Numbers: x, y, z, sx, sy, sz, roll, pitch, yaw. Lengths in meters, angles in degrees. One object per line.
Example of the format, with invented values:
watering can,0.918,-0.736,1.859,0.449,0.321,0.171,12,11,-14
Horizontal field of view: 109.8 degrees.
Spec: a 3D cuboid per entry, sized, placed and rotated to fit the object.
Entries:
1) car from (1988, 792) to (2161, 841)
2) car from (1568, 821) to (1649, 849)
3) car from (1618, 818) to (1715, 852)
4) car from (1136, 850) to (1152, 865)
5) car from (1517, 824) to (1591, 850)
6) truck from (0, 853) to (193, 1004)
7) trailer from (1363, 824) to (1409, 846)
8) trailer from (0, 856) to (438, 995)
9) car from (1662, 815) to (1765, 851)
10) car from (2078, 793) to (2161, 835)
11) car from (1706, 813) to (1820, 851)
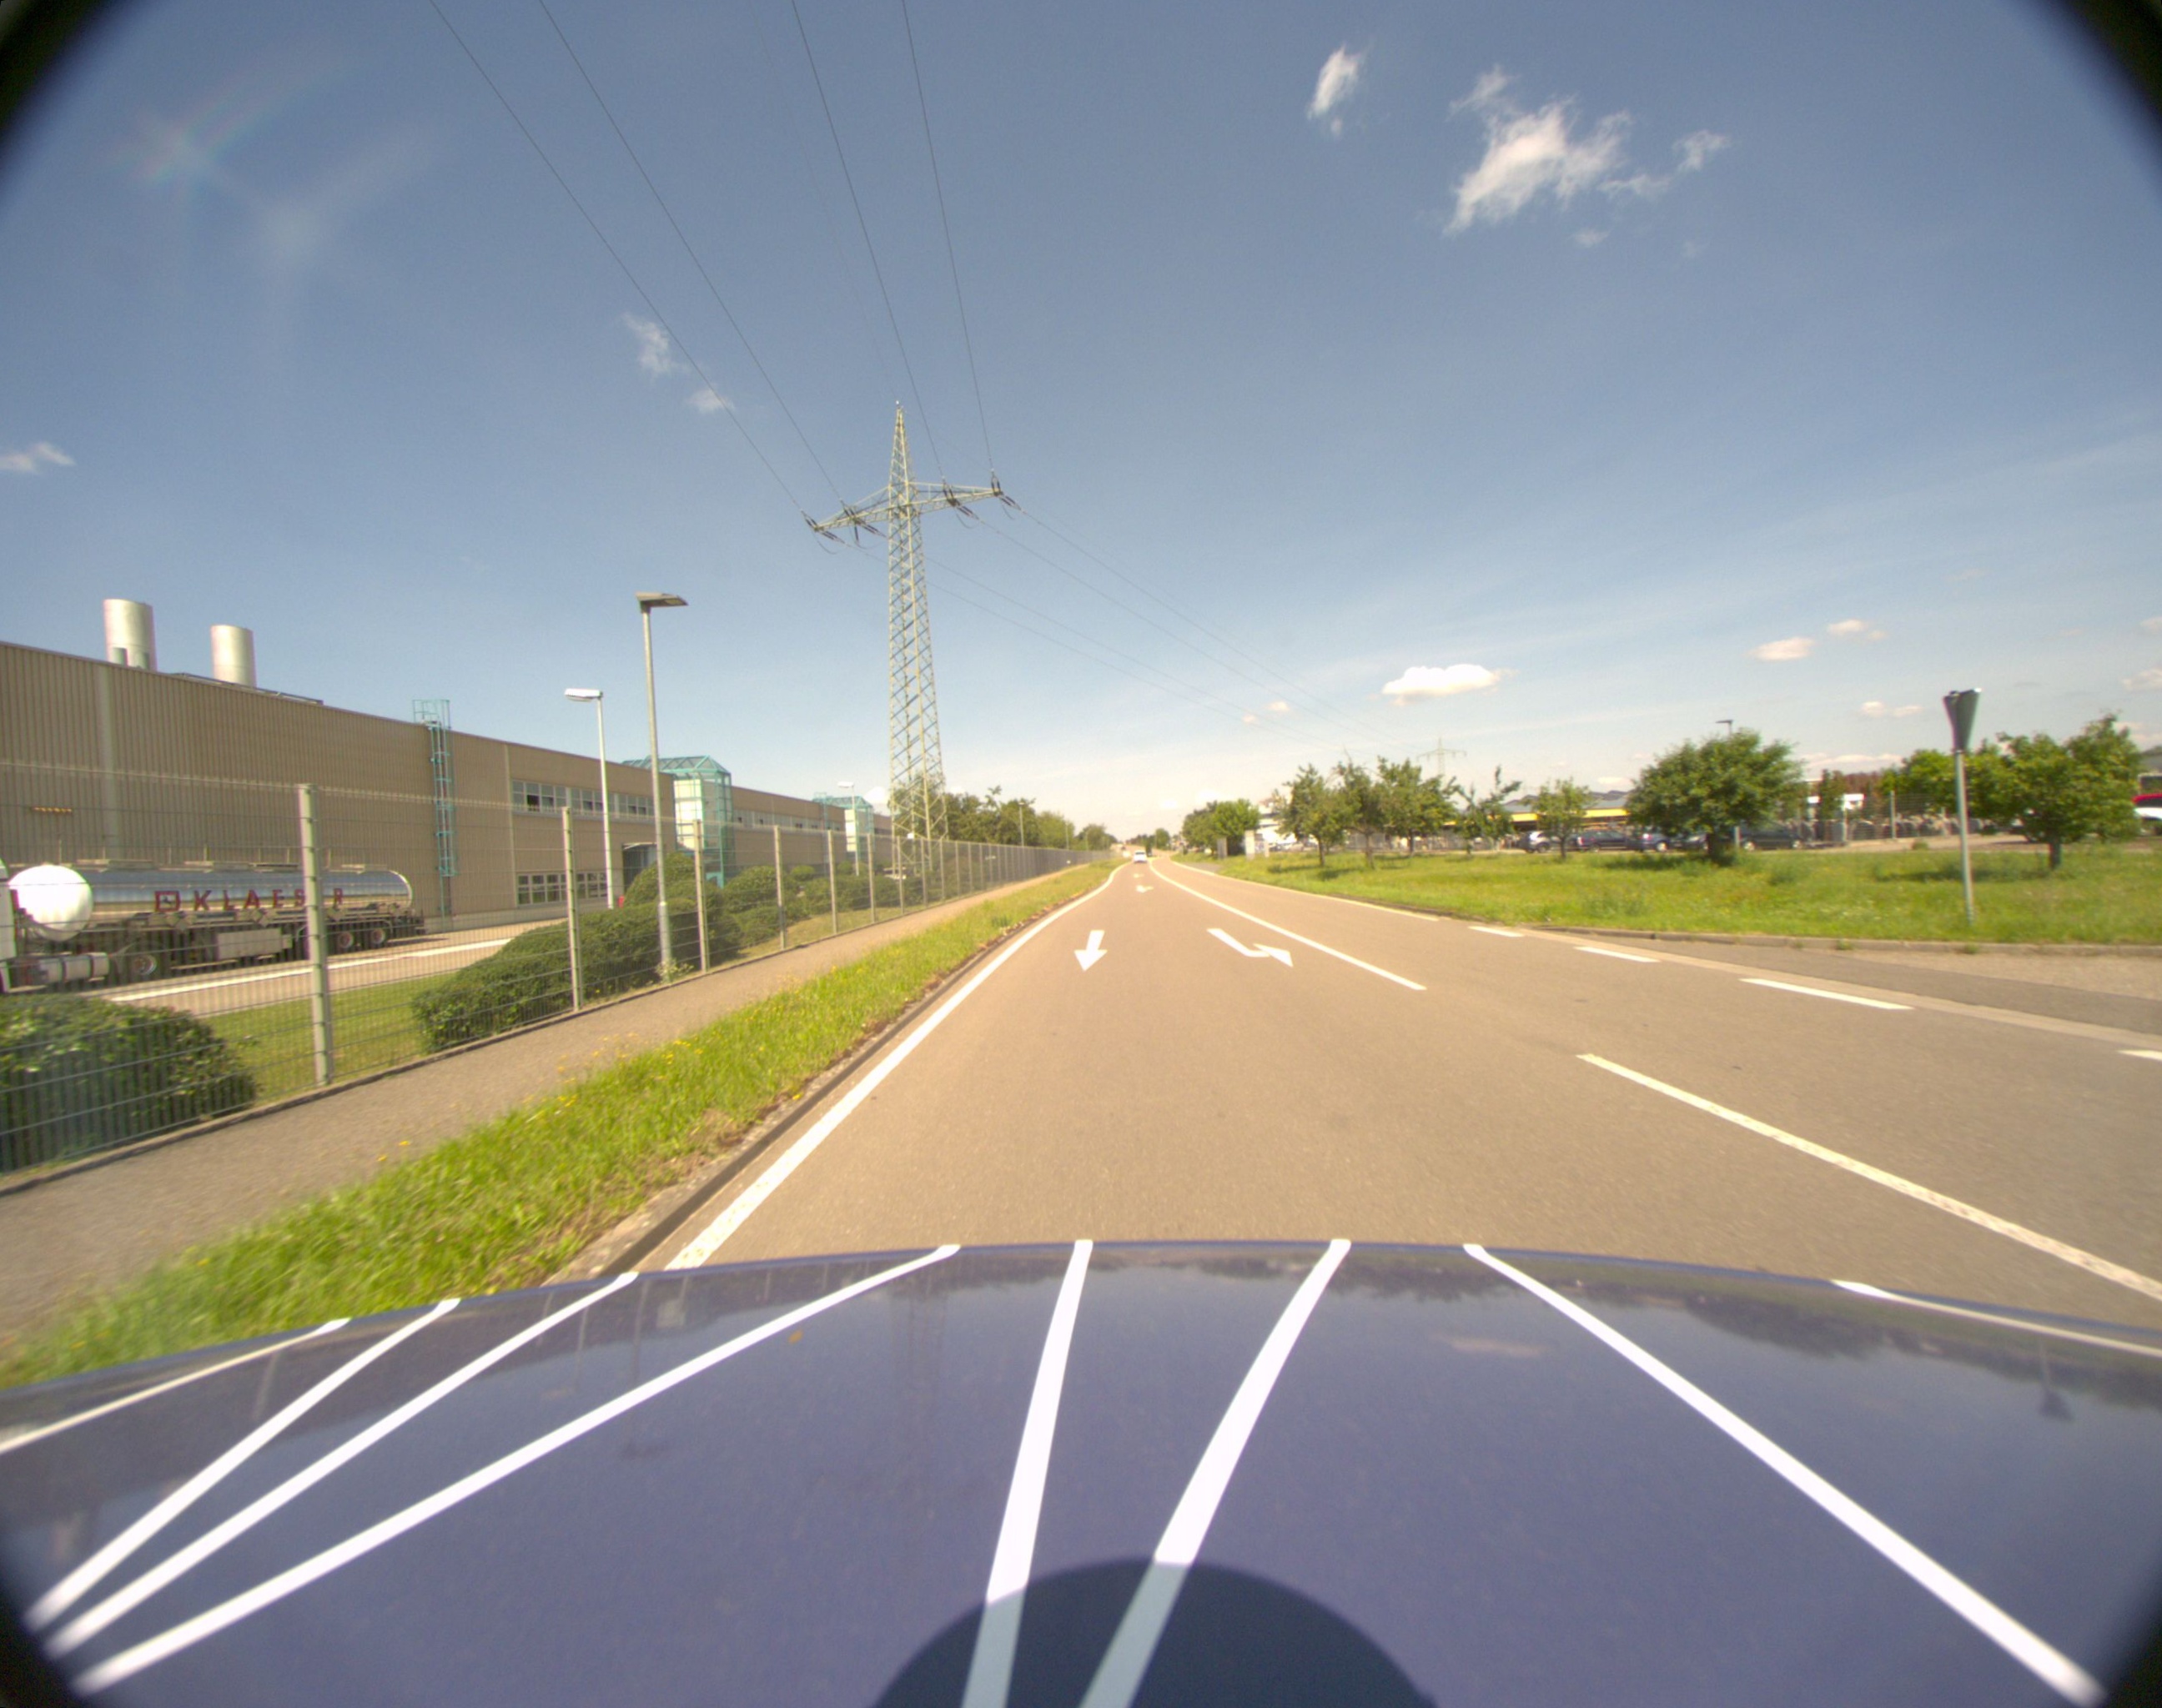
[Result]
car,39.664,-1.465,30.319,2.003,1.630,4.161,-4,0,-30
car,33.835,-1.194,48.786,3.997,1.546,1.665,-4,1,-1
car,33.785,-1.071,43.898,3.997,1.630,2.000,-4,0,-1
car,9.118,0.521,110.274,1.997,1.904,4.001,-3,1,8
car,33.950,-1.206,54.613,3.997,1.519,2.000,-4,0,-1
truck,-29.351,1.951,20.348,3.604,3.845,6.405,-2,0,-4
trailer,44.904,-2.734,112.046,5.577,2.809,2.740,-4,1,-2
trailer,-29.645,2.005,26.882,3.600,3.713,12.235,-2,0,-2
car,34.282,-1.134,41.261,3.997,1.630,1.858,-4,0,-1
car,43.073,-1.659,30.067,2.003,1.519,4.161,-4,0,-31
car,34.743,-1.118,38.765,3.997,1.630,2.000,-4,0,-1
